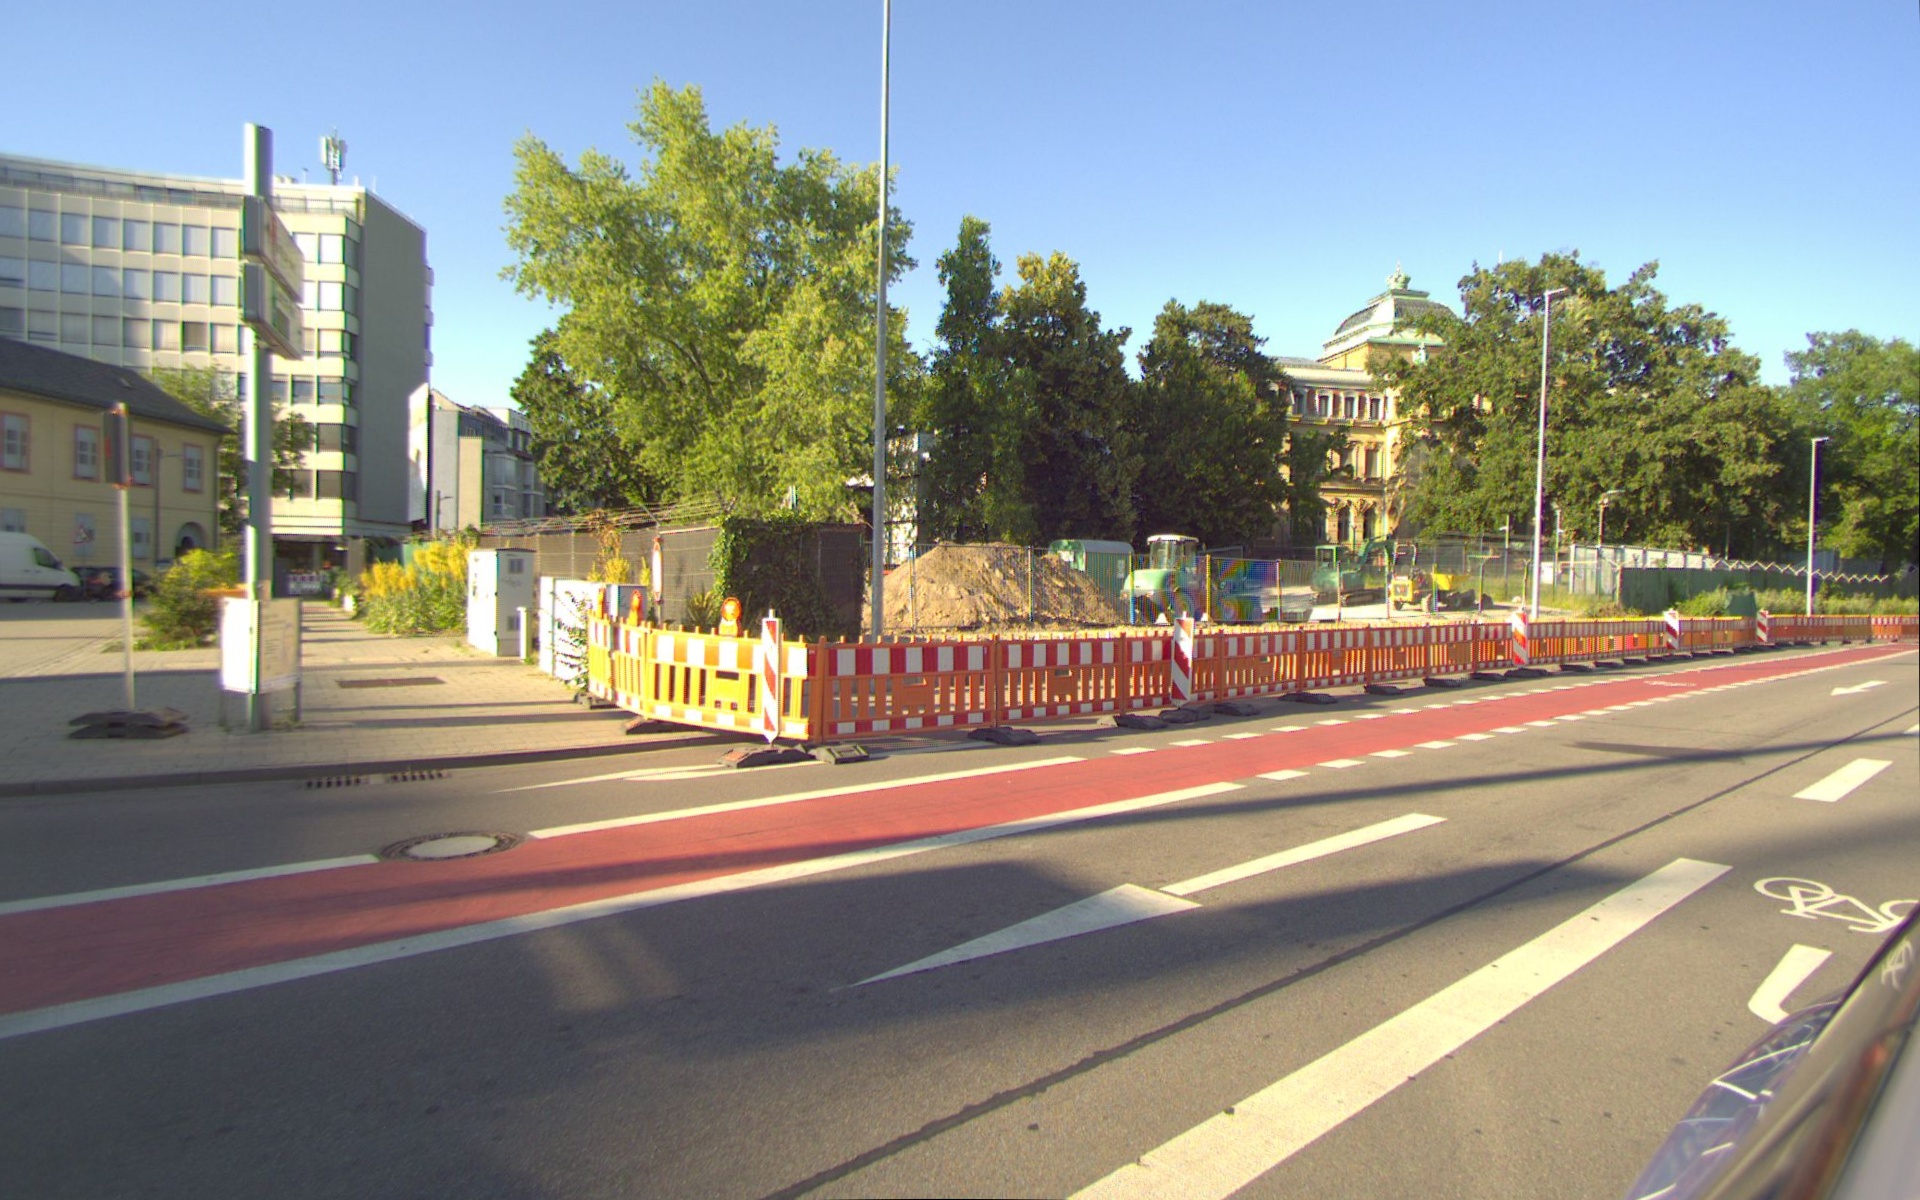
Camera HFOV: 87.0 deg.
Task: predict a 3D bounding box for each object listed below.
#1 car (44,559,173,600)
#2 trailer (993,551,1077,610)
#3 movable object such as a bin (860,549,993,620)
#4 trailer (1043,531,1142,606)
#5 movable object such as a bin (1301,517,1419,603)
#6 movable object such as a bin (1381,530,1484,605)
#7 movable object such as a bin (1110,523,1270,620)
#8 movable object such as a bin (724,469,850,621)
[{"bbox_3d":[-34.867,-0.851,41.587,1.962,1.593,4.001,1,1,0],"label":"car"},{"bbox_3d":[3.274,-0.898,44.463,2.189,2.349,2.950,-7,7,-43],"label":"trailer"},{"bbox_3d":[-1.329,-0.673,38.293,2.189,2.349,5.037,-7,7,-43],"label":"movable object such as a bin"},{"bbox_3d":[6.170,-1.537,46.848,3.923,3.126,2.612,-7,7,-43],"label":"trailer"},{"bbox_3d":[17.902,-1.718,45.212,5.395,3.602,2.283,0,1,-36],"label":"movable object such as a bin"},{"bbox_3d":[19.392,-1.288,41.521,3.922,2.940,2.001,0,1,-33],"label":"movable object such as a bin"},{"bbox_3d":[7.085,-0.834,30.935,4.855,2.737,2.280,0,1,-41],"label":"movable object such as a bin"},{"bbox_3d":[-4.862,-1.384,27.456,2.801,3.602,6.095,1,1,-15],"label":"movable object such as a bin"}]
